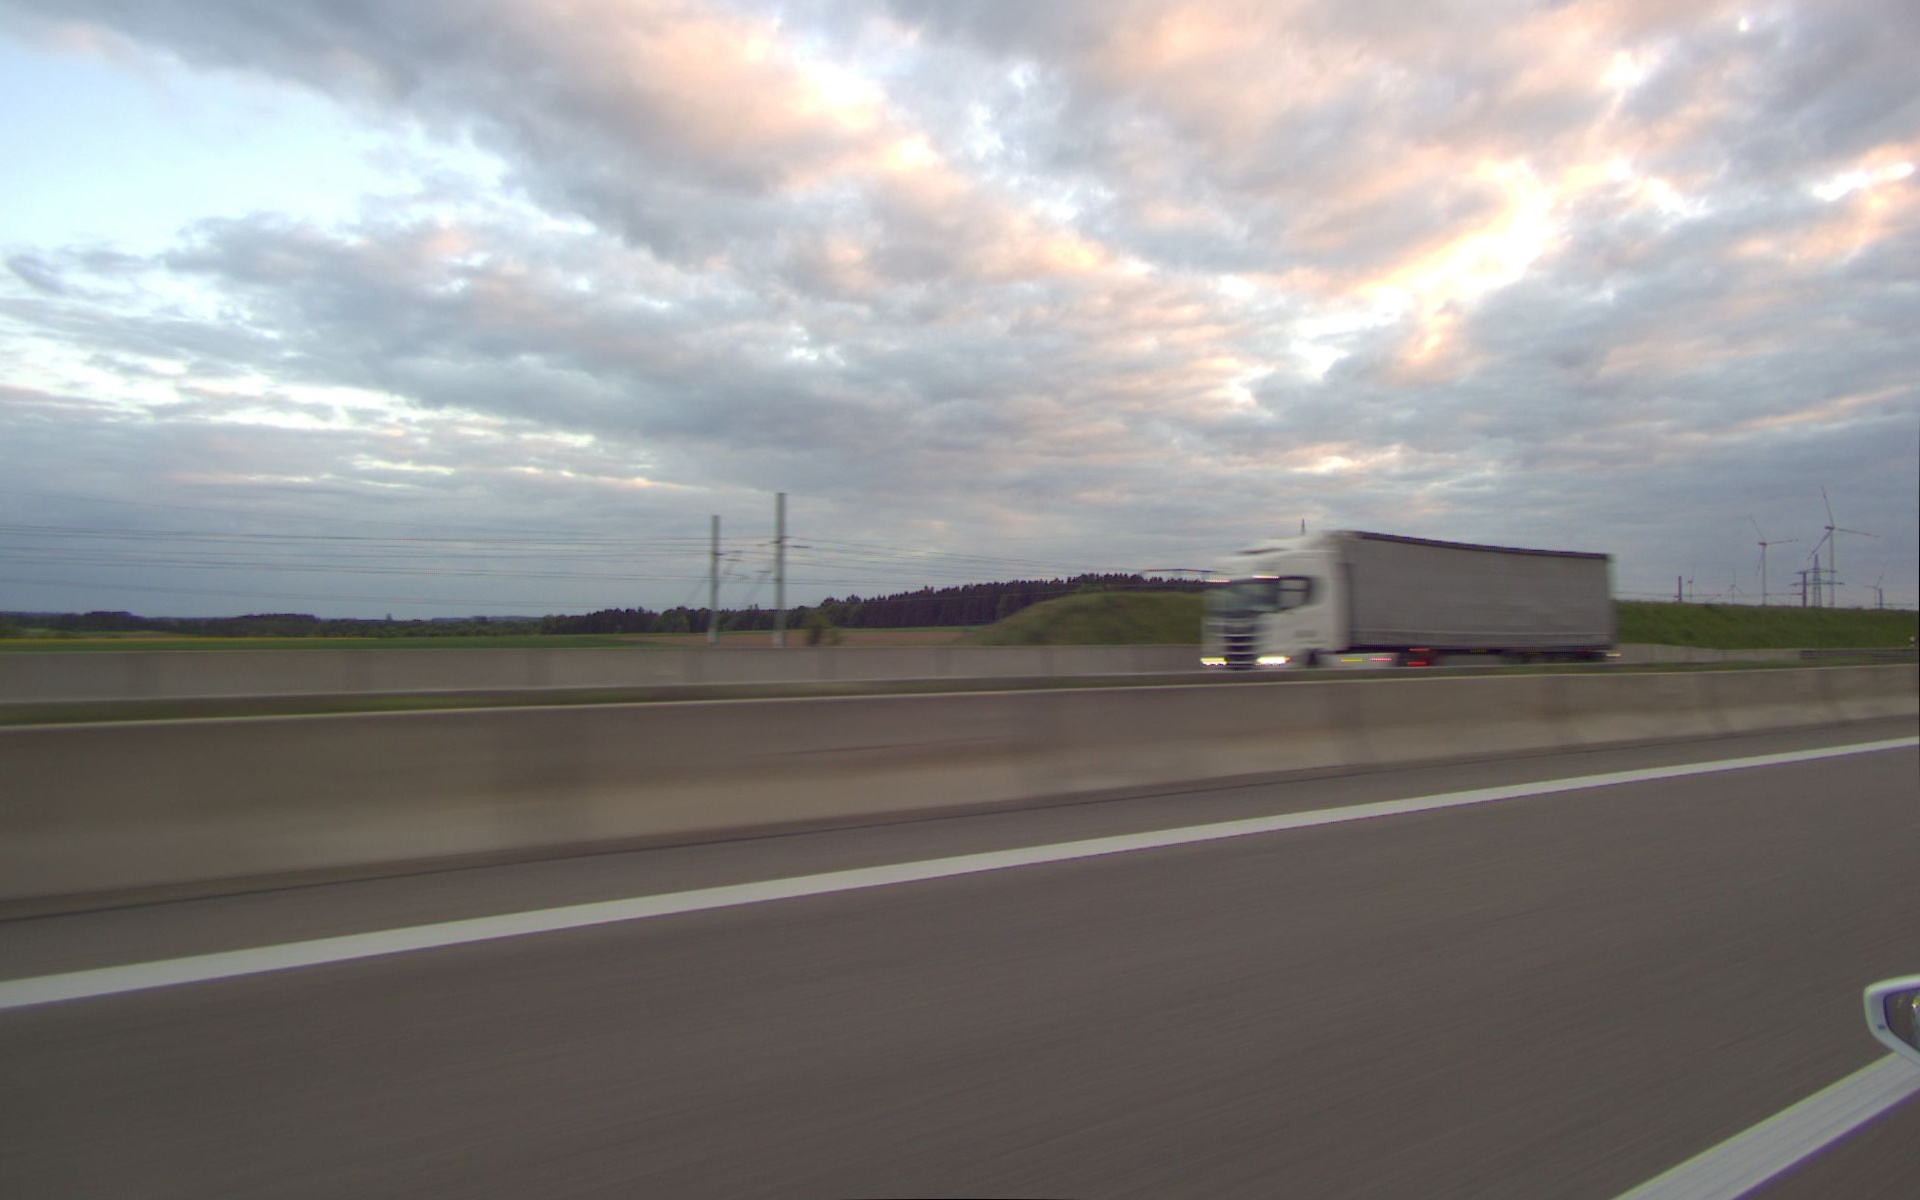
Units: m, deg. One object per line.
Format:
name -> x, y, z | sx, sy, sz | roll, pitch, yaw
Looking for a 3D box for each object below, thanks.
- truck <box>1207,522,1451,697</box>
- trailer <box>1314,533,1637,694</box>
truck -> 10.408, 0.292, 28.182 | 6.660, 4.410, 2.803 | 1, 0, -31
trailer -> 16.712, 0.462, 31.947 | 12.689, 4.410, 2.803 | 1, 0, -31
